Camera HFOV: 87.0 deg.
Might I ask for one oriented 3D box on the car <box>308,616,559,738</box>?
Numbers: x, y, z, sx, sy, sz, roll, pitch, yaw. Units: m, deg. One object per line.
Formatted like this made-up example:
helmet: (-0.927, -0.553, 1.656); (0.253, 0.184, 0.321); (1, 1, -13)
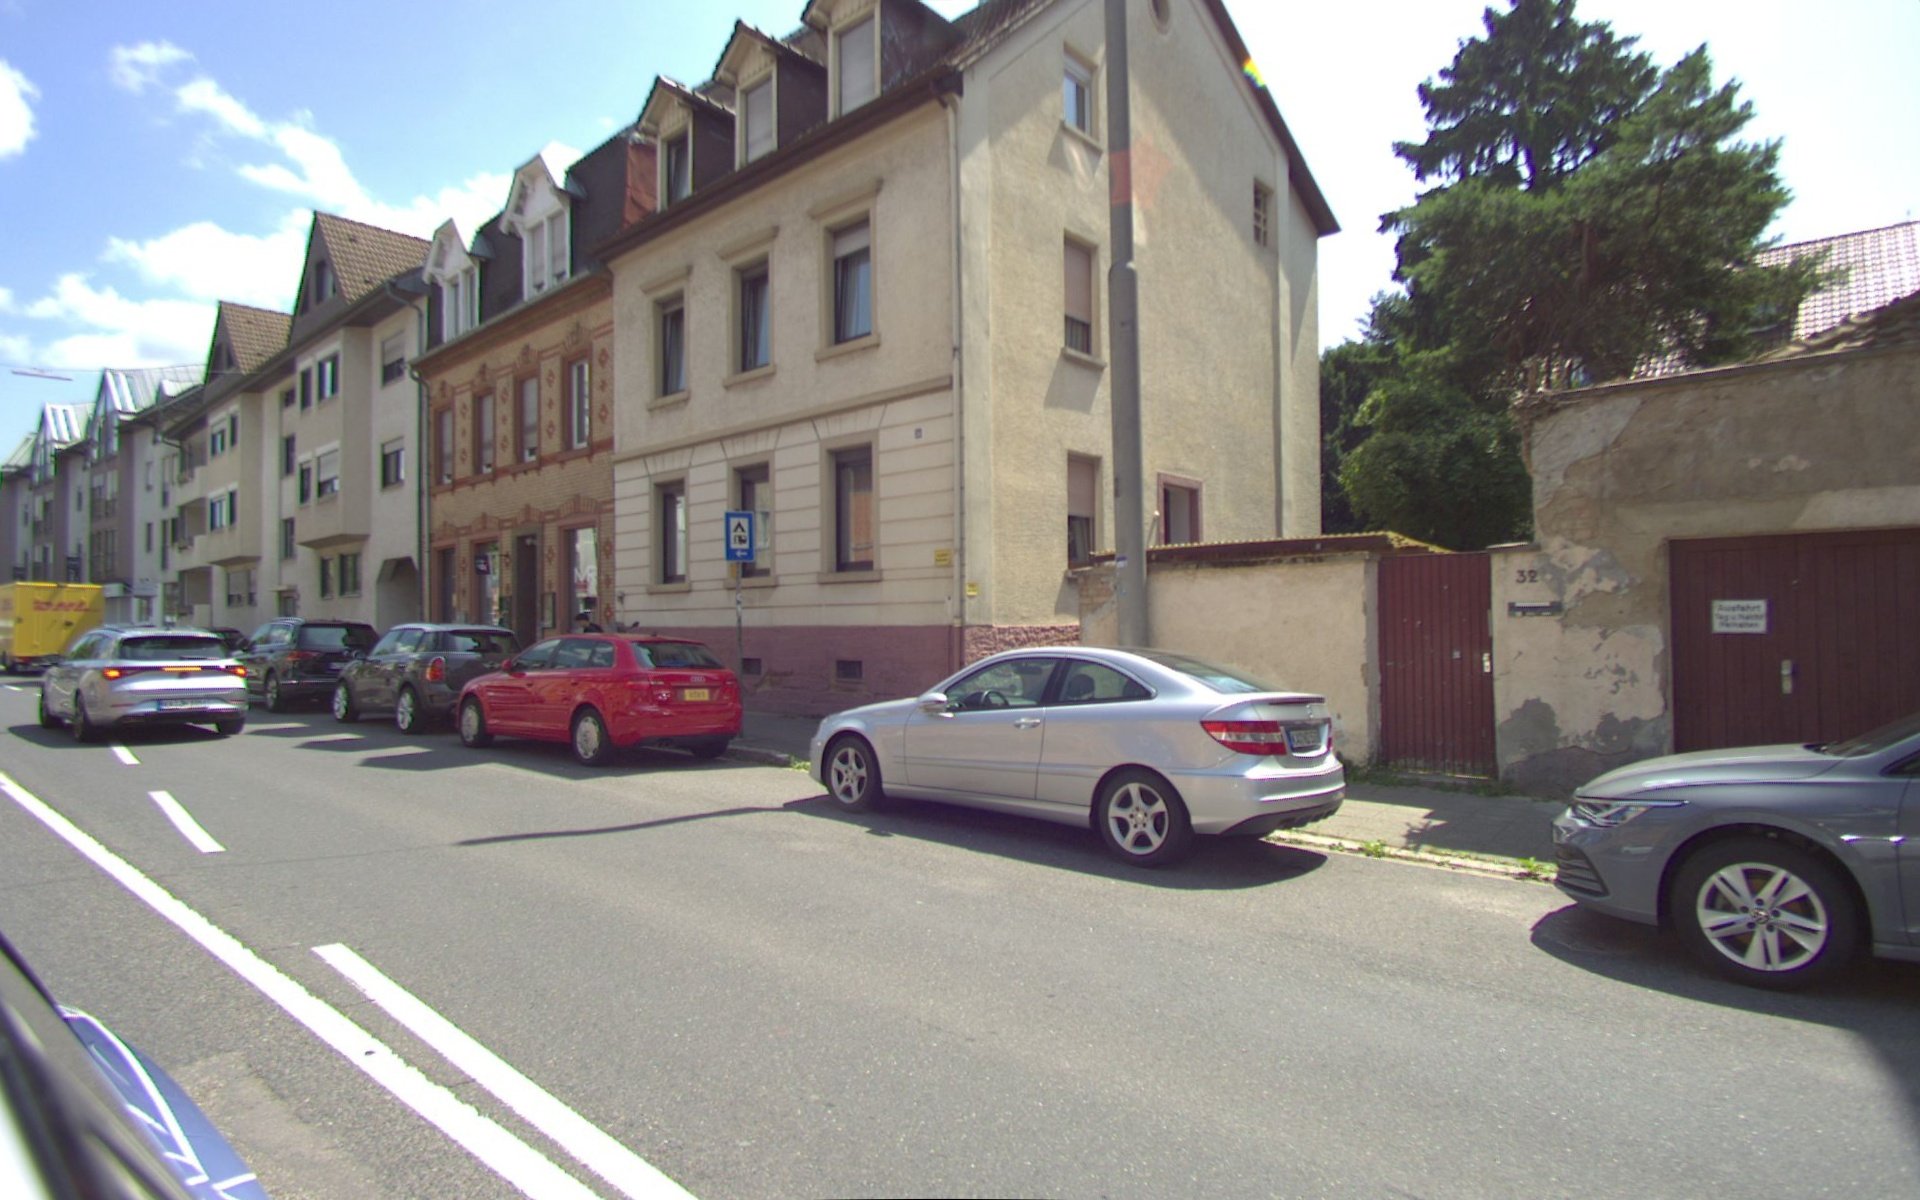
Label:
car: (-8.225, 1.136, 15.625); (4.499, 1.609, 1.821); (-1, -6, 41)

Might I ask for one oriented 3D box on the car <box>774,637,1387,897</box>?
car: (0.717, 1.045, 7.889); (4.499, 1.433, 1.820); (-1, -4, 41)

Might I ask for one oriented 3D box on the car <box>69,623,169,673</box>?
car: (-29.482, 1.638, 35.443); (4.381, 1.608, 1.822); (-1, 0, 39)

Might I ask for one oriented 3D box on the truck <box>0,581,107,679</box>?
truck: (-29.317, 1.007, 32.045); (7.558, 2.792, 2.202); (-2, -4, 41)

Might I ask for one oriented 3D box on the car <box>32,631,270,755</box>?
car: (-11.127, 1.146, 13.819); (4.312, 1.431, 1.772); (-2, -3, 41)

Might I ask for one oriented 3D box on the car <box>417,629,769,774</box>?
car: (-4.512, 1.123, 12.153); (4.496, 1.433, 1.822); (-2, -5, 38)

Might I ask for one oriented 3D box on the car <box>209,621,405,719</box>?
car: (-12.224, 1.252, 18.838); (4.499, 1.609, 1.820); (-1, -4, 41)

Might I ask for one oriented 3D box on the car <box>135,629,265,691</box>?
car: (-21.107, 1.598, 28.035); (4.497, 1.499, 1.822); (-1, 0, 39)

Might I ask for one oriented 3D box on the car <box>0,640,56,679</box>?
car: (-40.931, 2.559, 43.862); (4.380, 1.500, 1.822); (-1, 0, 38)

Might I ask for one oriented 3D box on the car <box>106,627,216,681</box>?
car: (-24.936, 1.619, 31.547); (4.382, 1.499, 1.821); (-1, 0, 40)

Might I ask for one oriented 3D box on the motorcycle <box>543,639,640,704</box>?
motorcycle: (-6.605, 1.249, 18.113); (1.871, 1.087, 0.836); (-2, -3, 41)

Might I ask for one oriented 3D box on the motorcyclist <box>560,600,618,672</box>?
motorcyclist: (-6.619, 0.643, 18.049); (0.711, 1.257, 0.711); (-2, -3, 40)

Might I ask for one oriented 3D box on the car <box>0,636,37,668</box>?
car: (-47.753, 2.579, 50.525); (4.965, 1.458, 1.821); (-1, 0, 40)

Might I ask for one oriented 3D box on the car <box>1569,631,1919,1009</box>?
car: (5.083, 0.907, 3.882); (4.498, 1.433, 1.821); (-1, -7, 40)
